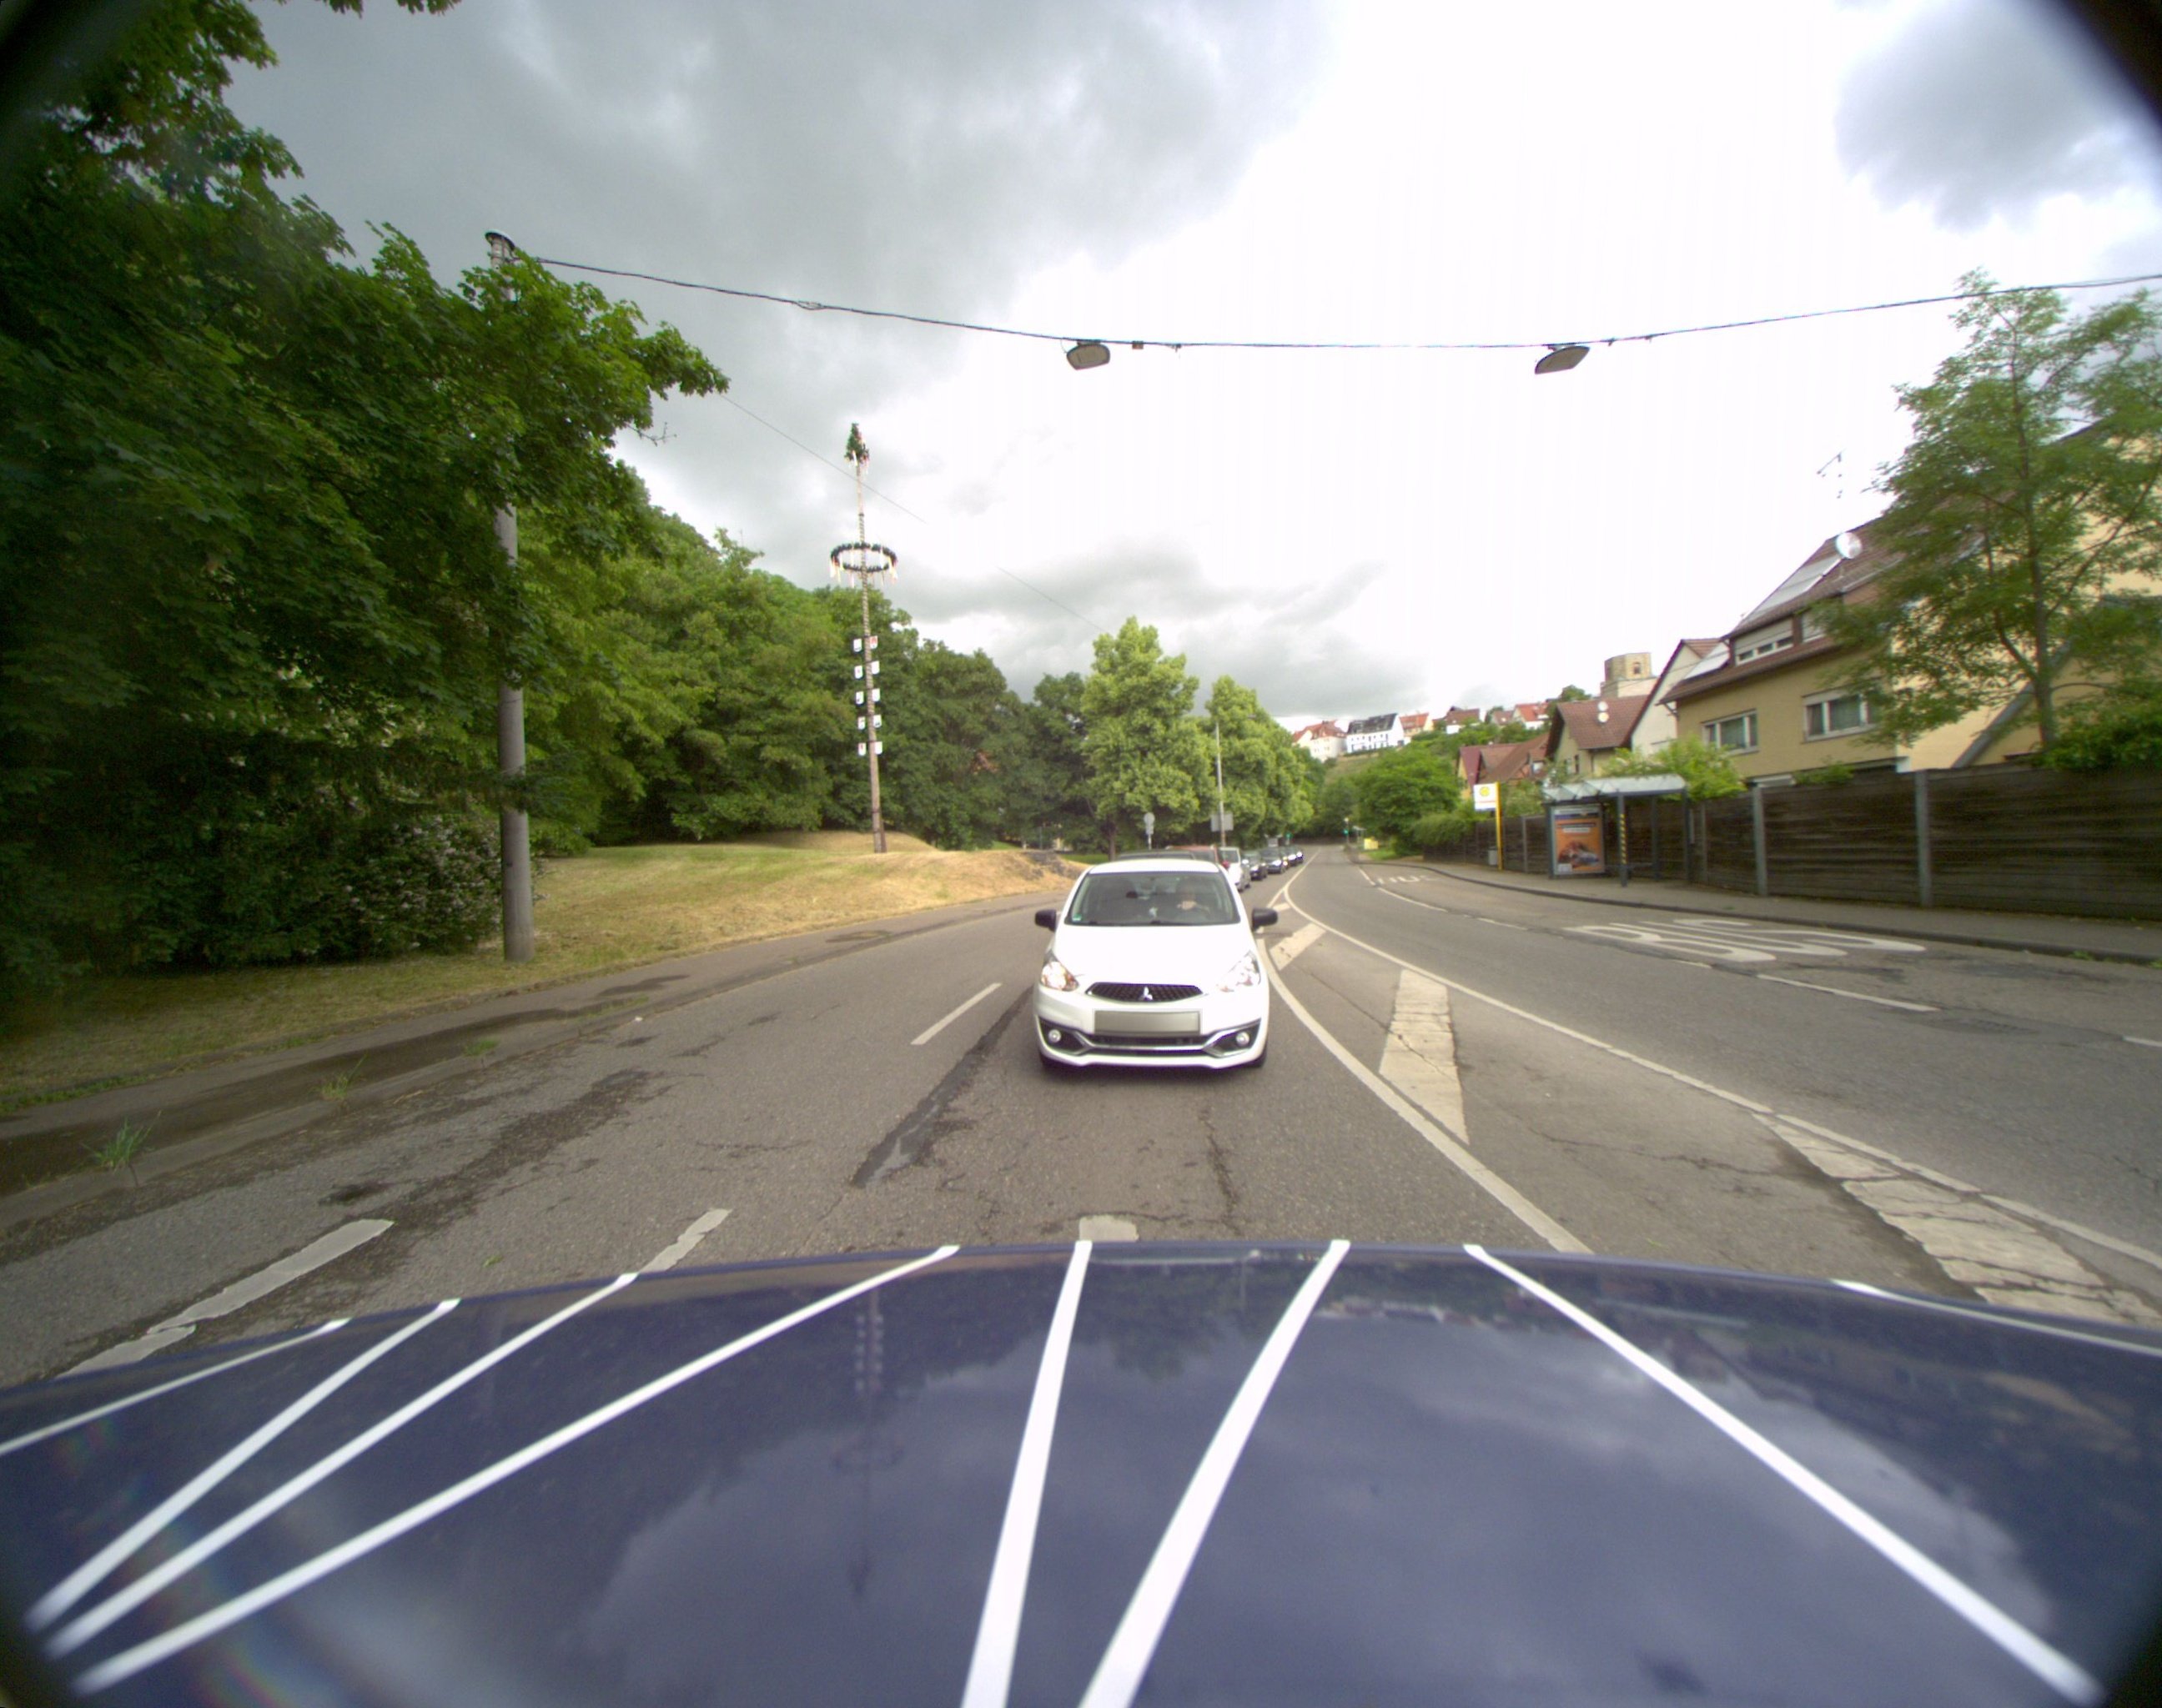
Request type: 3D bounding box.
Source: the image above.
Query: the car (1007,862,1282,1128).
[{"bbox_3d":[0.612,0.905,6.649,1.627,1.499,4.001,-2,1,7],"label":"car"}]

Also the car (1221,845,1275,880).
[{"bbox_3d":[7.876,0.382,35.638,1.851,1.449,4.005,-2,1,21],"label":"car"}]

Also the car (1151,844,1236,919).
[{"bbox_3d":[2.962,0.617,19.411,1.673,1.632,4.104,-2,1,14],"label":"car"}]

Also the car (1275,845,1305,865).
[{"bbox_3d":[14.724,0.056,53.473,1.642,1.262,3.630,-2,1,21],"label":"car"}]

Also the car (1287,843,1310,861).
[{"bbox_3d":[17.033,-0.174,59.502,1.417,1.242,3.300,-2,1,21],"label":"car"}]

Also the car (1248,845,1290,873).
[{"bbox_3d":[10.343,0.248,41.595,1.694,1.403,3.987,-2,1,21],"label":"car"}]

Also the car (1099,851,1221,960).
[{"bbox_3d":[1.411,0.760,13.161,1.729,1.512,4.002,-2,1,7],"label":"car"}]

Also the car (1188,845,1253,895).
[{"bbox_3d":[5.078,0.519,27.284,1.781,1.560,4.004,-2,1,17],"label":"car"}]

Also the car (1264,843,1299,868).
[{"bbox_3d":[12.723,0.069,47.987,1.704,1.438,3.872,-2,1,21],"label":"car"}]
